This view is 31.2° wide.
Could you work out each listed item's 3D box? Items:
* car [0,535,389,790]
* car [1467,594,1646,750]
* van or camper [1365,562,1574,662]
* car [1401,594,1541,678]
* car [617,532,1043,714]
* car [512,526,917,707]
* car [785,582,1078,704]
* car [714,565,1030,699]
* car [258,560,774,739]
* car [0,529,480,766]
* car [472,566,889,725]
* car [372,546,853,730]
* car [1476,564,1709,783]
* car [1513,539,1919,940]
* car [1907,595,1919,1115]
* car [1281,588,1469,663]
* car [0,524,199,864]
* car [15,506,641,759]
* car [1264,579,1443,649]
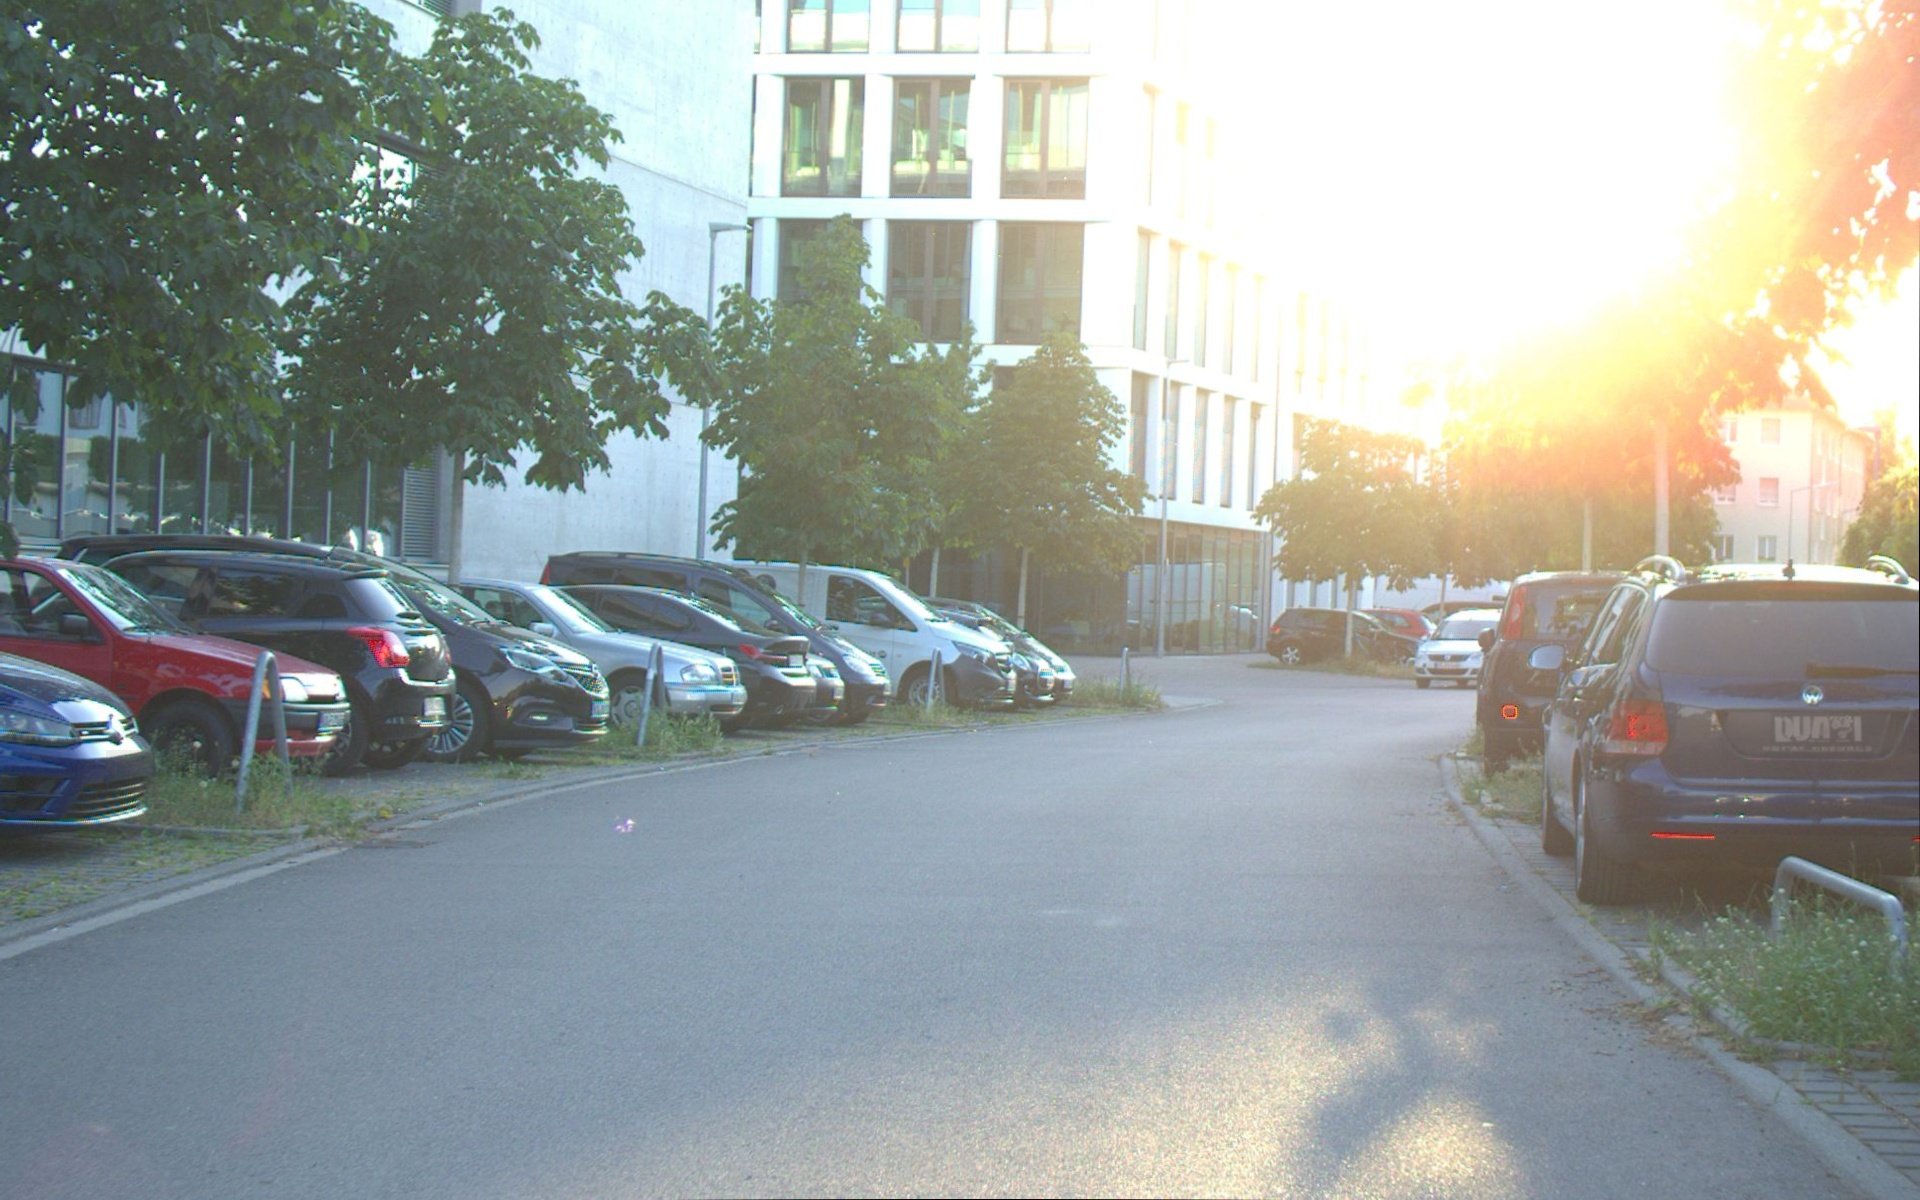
[{"bbox_3d":[-5.673,0.341,21.733,3.703,1.453,1.711,3,0,5],"label":"car"},{"bbox_3d":[6.299,0.730,36.022,1.693,1.504,4.190,1,0,12],"label":"car"},{"bbox_3d":[14.327,0.311,96.602,5.458,2.475,1.773,3,1,19],"label":"van or camper"},{"bbox_3d":[10.939,0.798,73.291,1.954,1.680,4.716,0,-2,21],"label":"car"},{"bbox_3d":[-1.654,0.290,44.433,5.079,1.940,1.888,4,0,11],"label":"car"},{"bbox_3d":[-2.799,0.188,39.630,4.249,1.736,1.724,4,0,10],"label":"car"},{"bbox_3d":[-0.395,0.610,49.704,3.888,1.483,1.650,4,0,12],"label":"car"},{"bbox_3d":[-1.188,0.437,47.101,3.989,1.517,1.605,4,0,10],"label":"car"},{"bbox_3d":[-4.135,0.434,32.291,4.435,1.459,1.762,2,1,10],"label":"car"},{"bbox_3d":[-5.365,0.298,23.753,3.703,1.453,1.679,3,0,7],"label":"car"},{"bbox_3d":[-3.019,0.492,37.517,4.146,1.399,1.724,4,0,10],"label":"car"},{"bbox_3d":[-3.486,0.378,34.708,4.400,1.494,1.762,4,0,14],"label":"car"},{"bbox_3d":[4.702,0.525,25.748,1.578,1.504,3.495,1,0,9],"label":"car"},{"bbox_3d":[3.542,0.526,15.797,1.711,1.544,4.547,1,1,6],"label":"car"},{"bbox_3d":[3.227,0.591,7.117,1.740,1.546,3.639,1,1,4],"label":"car"},{"bbox_3d":[9.687,0.585,80.185,4.053,1.474,1.766,3,1,16],"label":"car"},{"bbox_3d":[-5.870,0.330,16.612,3.870,1.506,1.760,3,1,5],"label":"car"},{"bbox_3d":[-4.802,0.237,26.472,4.310,1.690,1.896,3,0,7],"label":"car"},{"bbox_3d":[9.731,0.342,84.996,4.054,1.474,1.766,3,0,19],"label":"car"}]
